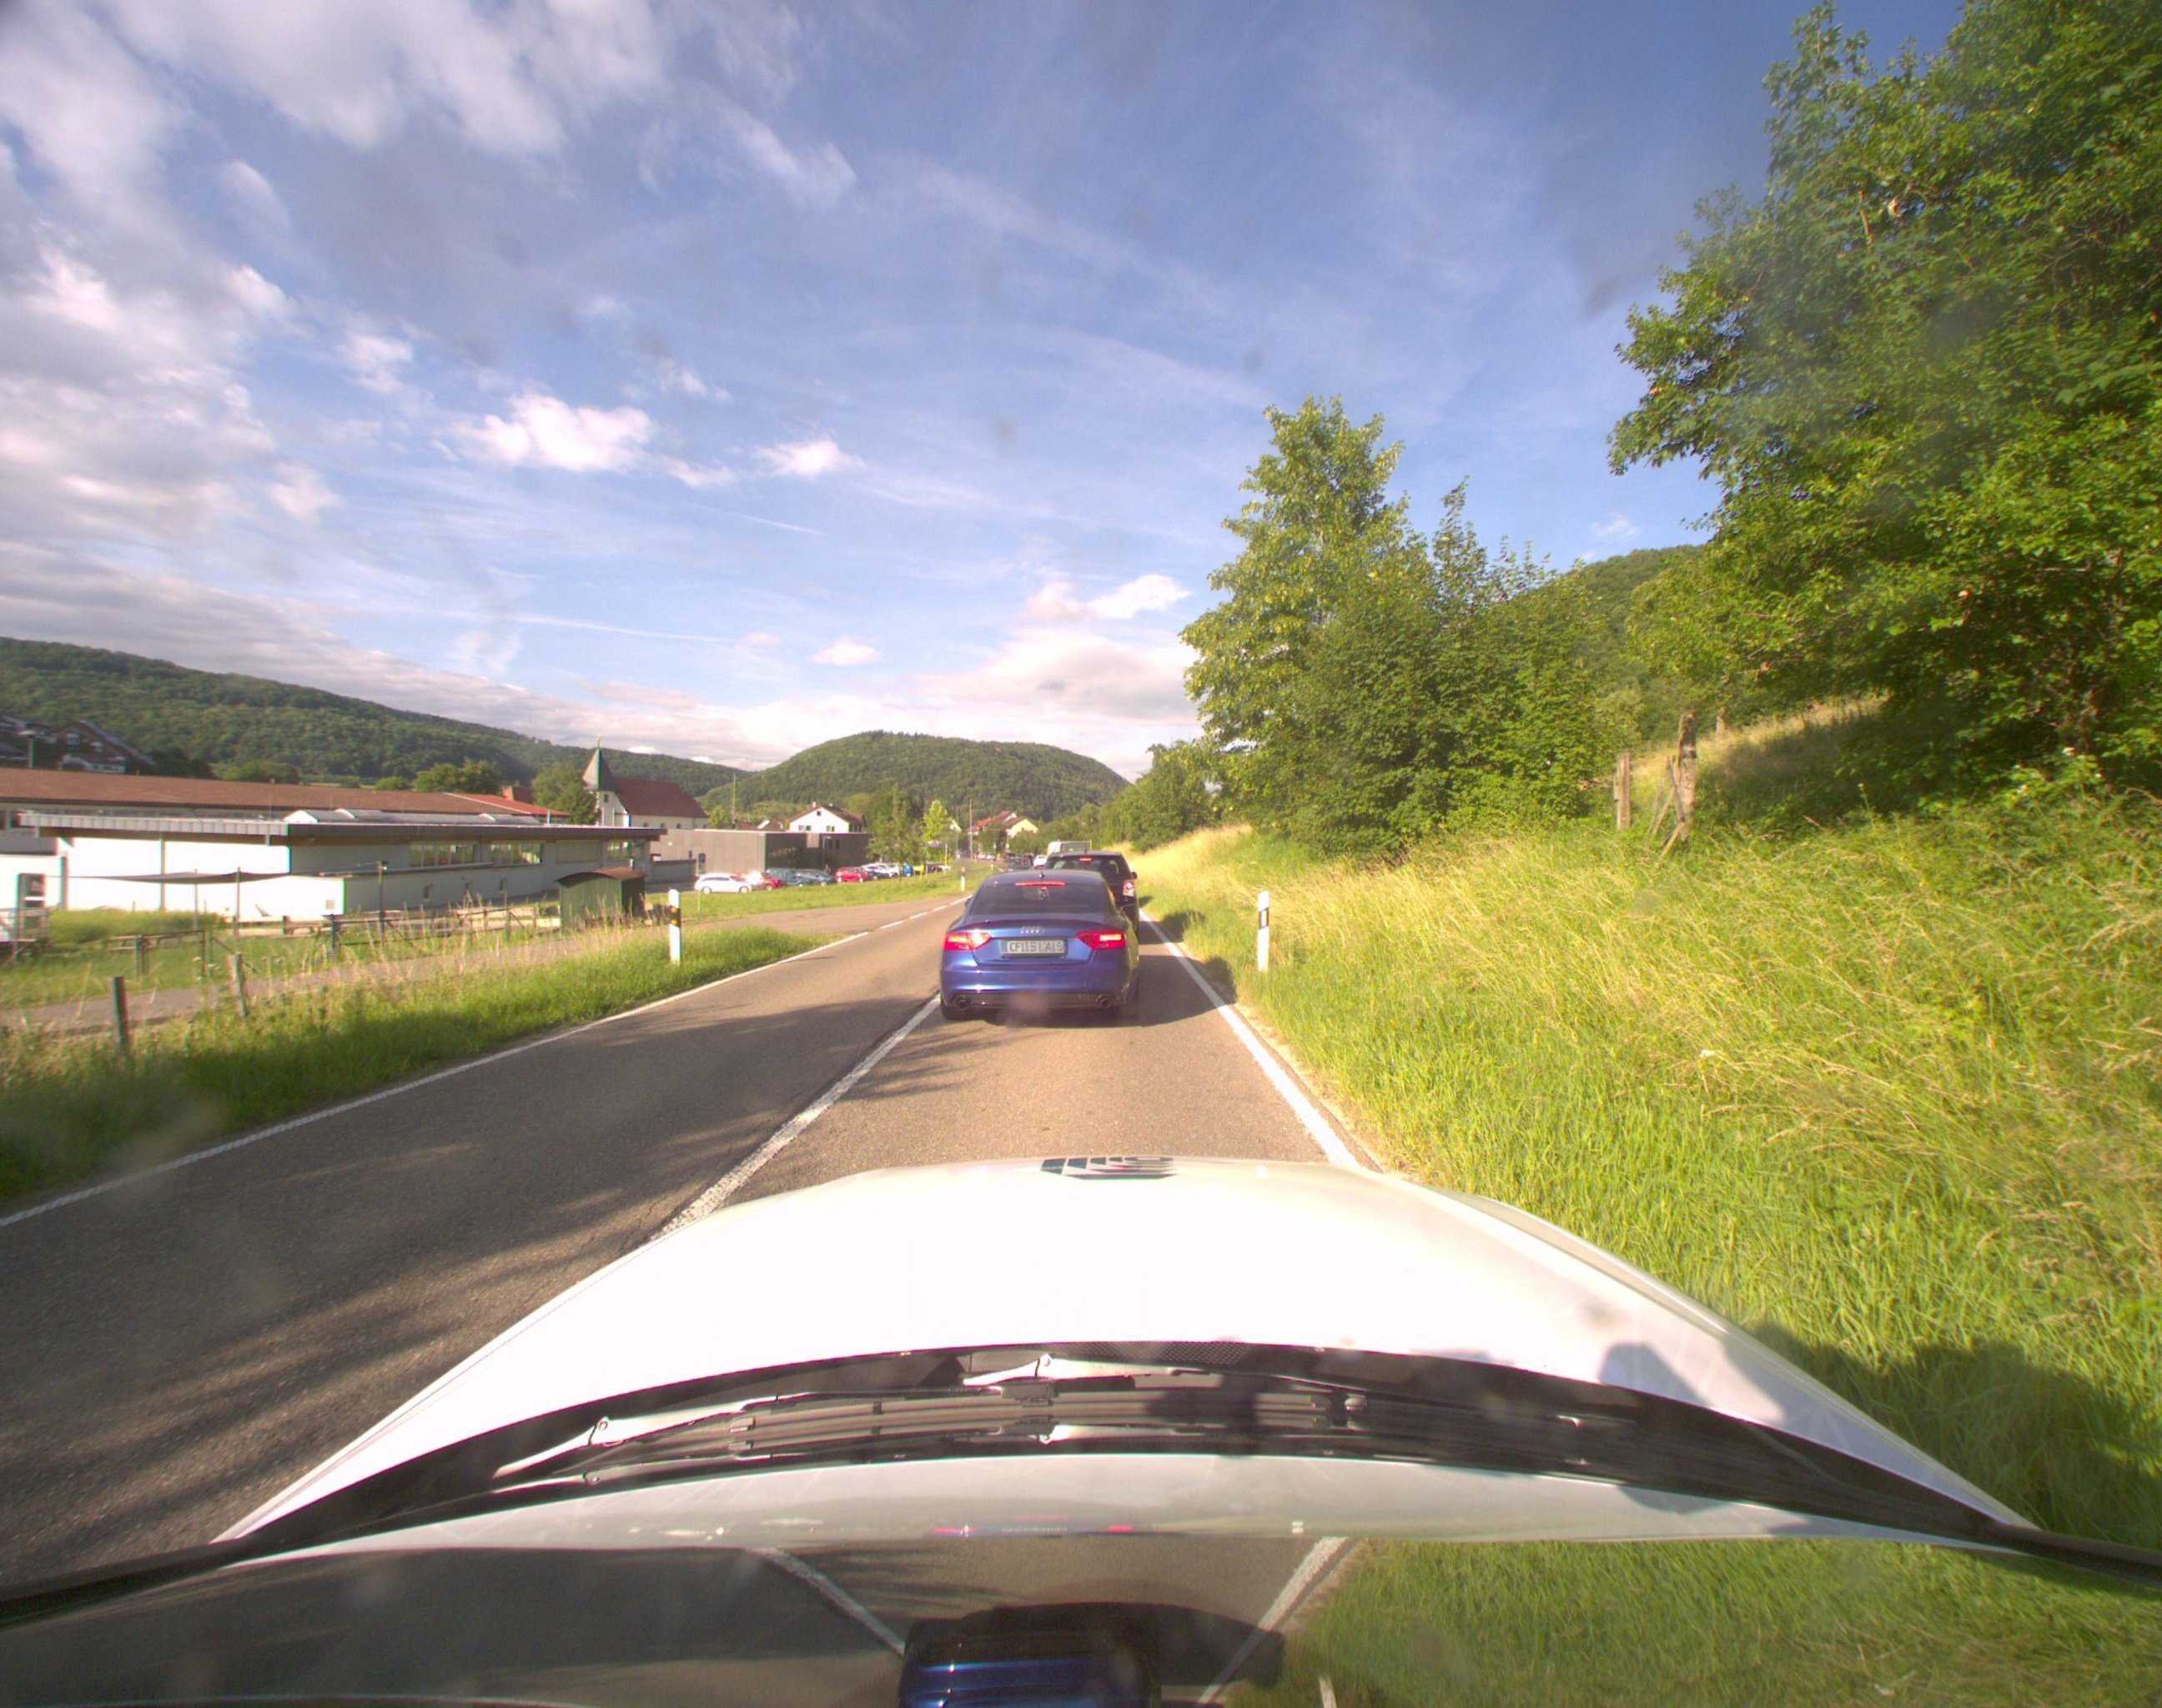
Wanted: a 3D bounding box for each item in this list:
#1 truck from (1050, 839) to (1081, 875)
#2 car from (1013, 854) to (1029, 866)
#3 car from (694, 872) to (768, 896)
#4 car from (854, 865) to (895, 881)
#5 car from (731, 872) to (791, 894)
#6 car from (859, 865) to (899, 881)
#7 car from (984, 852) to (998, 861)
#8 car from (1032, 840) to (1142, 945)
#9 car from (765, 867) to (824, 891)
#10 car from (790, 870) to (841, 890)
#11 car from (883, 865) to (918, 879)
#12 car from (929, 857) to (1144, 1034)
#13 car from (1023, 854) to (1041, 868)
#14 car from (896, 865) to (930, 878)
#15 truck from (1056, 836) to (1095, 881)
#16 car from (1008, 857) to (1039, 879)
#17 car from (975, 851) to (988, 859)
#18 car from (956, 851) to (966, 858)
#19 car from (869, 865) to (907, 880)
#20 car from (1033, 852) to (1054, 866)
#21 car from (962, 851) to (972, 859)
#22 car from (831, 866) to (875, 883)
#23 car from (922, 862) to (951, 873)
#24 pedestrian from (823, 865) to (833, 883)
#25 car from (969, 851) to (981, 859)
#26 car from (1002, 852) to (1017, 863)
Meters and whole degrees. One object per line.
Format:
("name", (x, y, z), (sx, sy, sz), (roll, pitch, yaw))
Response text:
("truck", (-1.247, 0.249, 61.986), (2.224, 2.570, 6.702), (0, -1, -2))
("car", (-8.860, 0.882, 120.322), (1.847, 1.712, 3.984), (0, -1, -11))
("car", (-26.402, 2.263, 61.498), (4.717, 1.711, 1.999), (0, -1, -1))
("car", (-22.720, 2.113, 89.535), (3.975, 1.711, 1.999), (0, -1, -1))
("car", (-25.256, 2.281, 64.417), (3.975, 1.711, 1.999), (0, -1, -1))
("car", (-23.082, 2.149, 93.202), (3.975, 1.711, 1.999), (0, -1, -1))
("car", (-16.953, 0.438, 153.166), (1.851, 1.712, 3.975), (0, -1, -18))
("car", (0.189, 0.641, 15.036), (1.747, 1.681, 3.849), (0, -1, 3))
("car", (-24.688, 2.170, 70.249), (4.393, 2.008, 1.999), (0, -1, -1))
("car", (-24.148, 2.361, 74.245), (3.975, 1.711, 1.999), (0, -1, -1))
("car", (-22.637, 2.227, 102.269), (3.975, 1.711, 1.999), (0, -1, -1))
("car", (-0.272, 0.767, 8.545), (1.747, 1.430, 3.849), (0, -1, 3))
("car", (-6.141, 0.831, 101.732), (1.846, 1.712, 3.986), (0, -1, -10))
("car", (-21.627, 2.242, 104.786), (3.975, 1.711, 1.999), (0, -1, -1))
("truck", (-0.366, 0.289, 49.367), (2.223, 2.570, 6.100), (0, -1, -1))
("car", (-3.787, 0.907, 54.412), (1.698, 1.430, 4.051), (0, -1, 1))
("car", (-19.980, 0.214, 163.485), (1.849, 1.712, 3.978), (0, -1, -16))
("car", (-28.842, 0.066, 194.883), (1.849, 1.712, 3.978), (0, -1, -16))
("car", (-22.877, 2.177, 96.484), (3.975, 1.711, 1.999), (0, -1, -1))
("car", (-4.069, 0.592, 88.773), (1.845, 1.482, 3.987), (0, -1, -9))
("car", (-25.860, 0.183, 184.827), (1.849, 1.712, 3.978), (0, -1, -16))
("car", (-23.732, 2.080, 84.975), (3.975, 1.711, 1.999), (0, -1, -1))
("car", (-21.159, 1.924, 119.263), (3.975, 1.579, 1.752), (0, -1, -1))
("pedestrian", (-28.958, 2.253, 93.329), (0.822, 2.014, 0.973), (0, -1, 1))
("car", (-22.567, 0.176, 173.657), (1.849, 1.712, 3.978), (0, -1, -16))
("car", (-11.479, 0.615, 130.516), (1.848, 1.712, 3.981), (0, -1, -14))
